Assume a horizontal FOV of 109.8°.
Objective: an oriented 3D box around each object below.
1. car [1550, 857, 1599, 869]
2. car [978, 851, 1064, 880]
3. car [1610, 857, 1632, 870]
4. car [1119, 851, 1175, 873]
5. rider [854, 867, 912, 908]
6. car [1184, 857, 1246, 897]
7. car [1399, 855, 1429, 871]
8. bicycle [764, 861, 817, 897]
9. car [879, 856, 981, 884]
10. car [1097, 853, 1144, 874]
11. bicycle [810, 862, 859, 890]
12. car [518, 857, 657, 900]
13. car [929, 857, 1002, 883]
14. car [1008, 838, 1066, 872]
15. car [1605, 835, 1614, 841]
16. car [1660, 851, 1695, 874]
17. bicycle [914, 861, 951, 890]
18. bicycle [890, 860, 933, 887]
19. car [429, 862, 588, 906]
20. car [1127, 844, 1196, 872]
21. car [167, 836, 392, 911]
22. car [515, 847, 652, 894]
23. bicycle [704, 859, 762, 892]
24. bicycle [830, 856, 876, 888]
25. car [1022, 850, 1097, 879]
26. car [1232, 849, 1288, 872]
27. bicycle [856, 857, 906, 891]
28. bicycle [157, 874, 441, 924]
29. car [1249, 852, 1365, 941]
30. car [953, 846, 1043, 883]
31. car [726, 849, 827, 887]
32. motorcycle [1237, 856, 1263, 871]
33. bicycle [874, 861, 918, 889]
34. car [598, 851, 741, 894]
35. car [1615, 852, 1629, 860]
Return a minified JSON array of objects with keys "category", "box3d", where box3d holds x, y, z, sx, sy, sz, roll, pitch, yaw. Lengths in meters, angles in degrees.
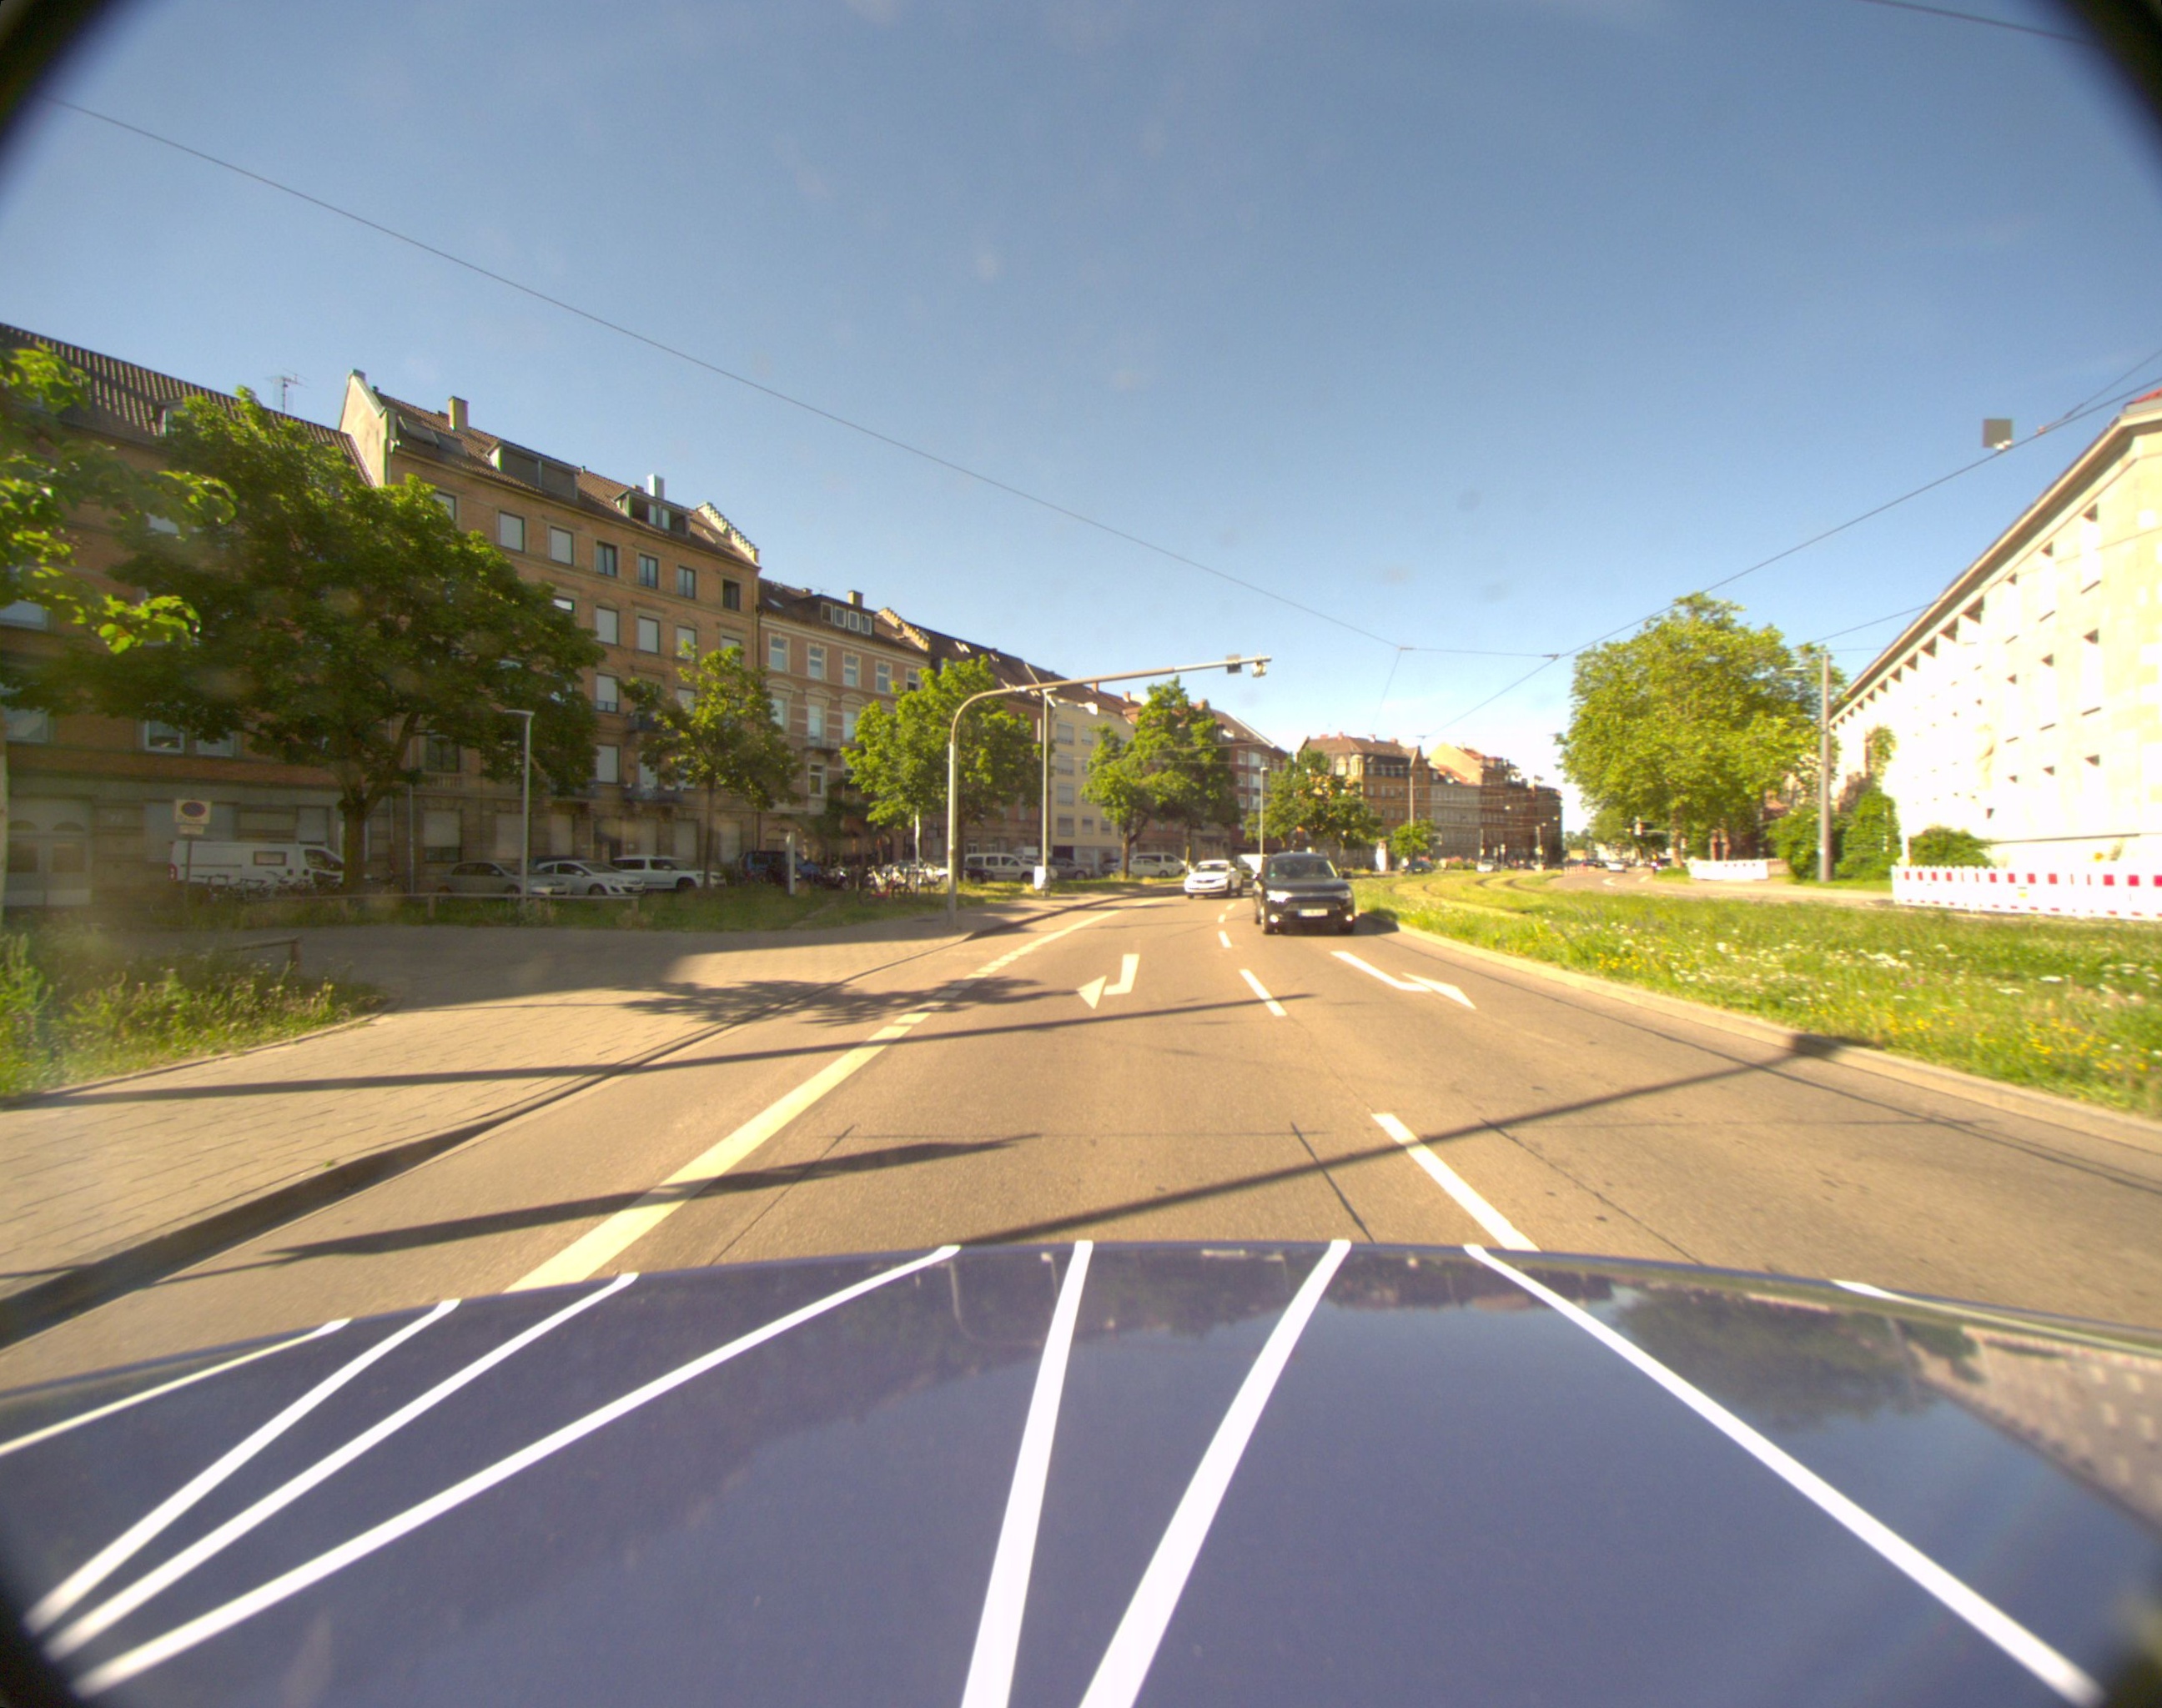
[{"category":"car","box3d":[62.995,1.073,97.040,1.839,1.444,4.949,0,0,-30]},{"category":"car","box3d":[-3.663,0.682,46.657,4.873,1.638,2.102,1,1,8]},{"category":"car","box3d":[63.881,1.152,89.822,1.830,1.444,4.180,1,0,39]},{"category":"car","box3d":[4.859,0.593,56.296,4.026,1.470,1.813,1,1,4]},{"category":"rider","box3d":[-6.361,1.060,24.502,1.678,1.169,0.502,-4,2,-35]},{"category":"car","box3d":[6.026,0.970,33.747,1.798,1.626,4.401,-1,0,22]},{"category":"car","box3d":[31.746,0.832,72.393,1.885,1.419,4.385,-1,0,34]},{"category":"bicycle","box3d":[-11.780,1.007,30.846,2.094,1.390,0.789,-1,0,27]},{"category":"car","box3d":[-7.719,0.805,39.159,4.747,1.372,2.047,0,0,4]},{"category":"car","box3d":[3.628,0.834,69.040,1.994,1.789,4.637,2,0,37]},{"category":"bicycle","box3d":[-10.638,0.941,32.748,2.163,1.151,0.824,-1,0,34]},{"category":"car","box3d":[-17.219,0.838,26.604,3.839,1.433,1.761,0,0,6]},{"category":"car","box3d":[-6.317,0.864,41.681,3.610,1.372,1.926,0,0,4]},{"category":"car","box3d":[-3.446,0.096,59.825,1.994,2.570,4.523,2,1,39]},{"category":"car","box3d":[137.556,-4.065,197.769,1.793,1.420,4.385,0,0,38]},{"category":"car","box3d":[40.791,0.566,51.937,1.830,1.483,4.190,-1,0,39]},{"category":"bicycle","box3d":[-6.581,0.949,33.663,1.598,1.282,0.769,1,1,-13]},{"category":"bicycle","box3d":[-7.862,0.895,35.134,1.945,1.174,0.902,1,1,37]},{"category":"car","box3d":[-18.337,0.928,24.401,4.049,1.329,1.841,0,0,12]},{"category":"car","box3d":[6.292,0.314,58.978,5.179,2.001,2.102,1,1,8]},{"category":"car","box3d":[-27.813,0.636,26.555,2.349,2.343,5.199,2,0,38]},{"category":"car","box3d":[-22.350,0.715,34.293,1.994,1.966,4.735,2,0,38]},{"category":"bicycle","box3d":[-14.989,0.906,32.751,2.099,1.357,0.787,-1,0,-3]},{"category":"bicycle","box3d":[-10.111,0.789,33.674,2.094,1.357,0.789,-1,0,32]},{"category":"car","box3d":[-1.355,0.625,49.162,4.506,1.718,2.001,1,1,8]},{"category":"car","box3d":[17.183,0.608,73.188,4.875,2.063,2.021,1,0,3]},{"category":"bicycle","box3d":[-8.429,0.836,31.961,2.094,1.357,0.789,-1,0,32]},{"category":"bicycle","box3d":[-22.121,1.188,21.772,2.676,1.120,5.233,-1,0,33]},{"category":"car","box3d":[4.794,0.822,16.728,1.839,1.672,4.646,-1,0,9]},{"category":"car","box3d":[-4.755,0.562,44.064,4.875,2.001,2.101,1,1,4]},{"category":"car","box3d":[-16.634,0.750,41.731,1.994,1.966,4.735,2,0,38]},{"category":"motorcycle","box3d":[15.769,0.897,70.896,2.262,1.412,0.854,1,0,-11]},{"category":"bicycle","box3d":[-8.374,0.931,34.361,1.958,1.185,0.843,1,1,37]},{"category":"car","box3d":[-15.629,0.695,28.964,4.464,1.556,1.939,0,0,6]},{"category":"car","box3d":[125.616,0.425,176.259,2.061,1.880,4.527,3,2,42]}]
